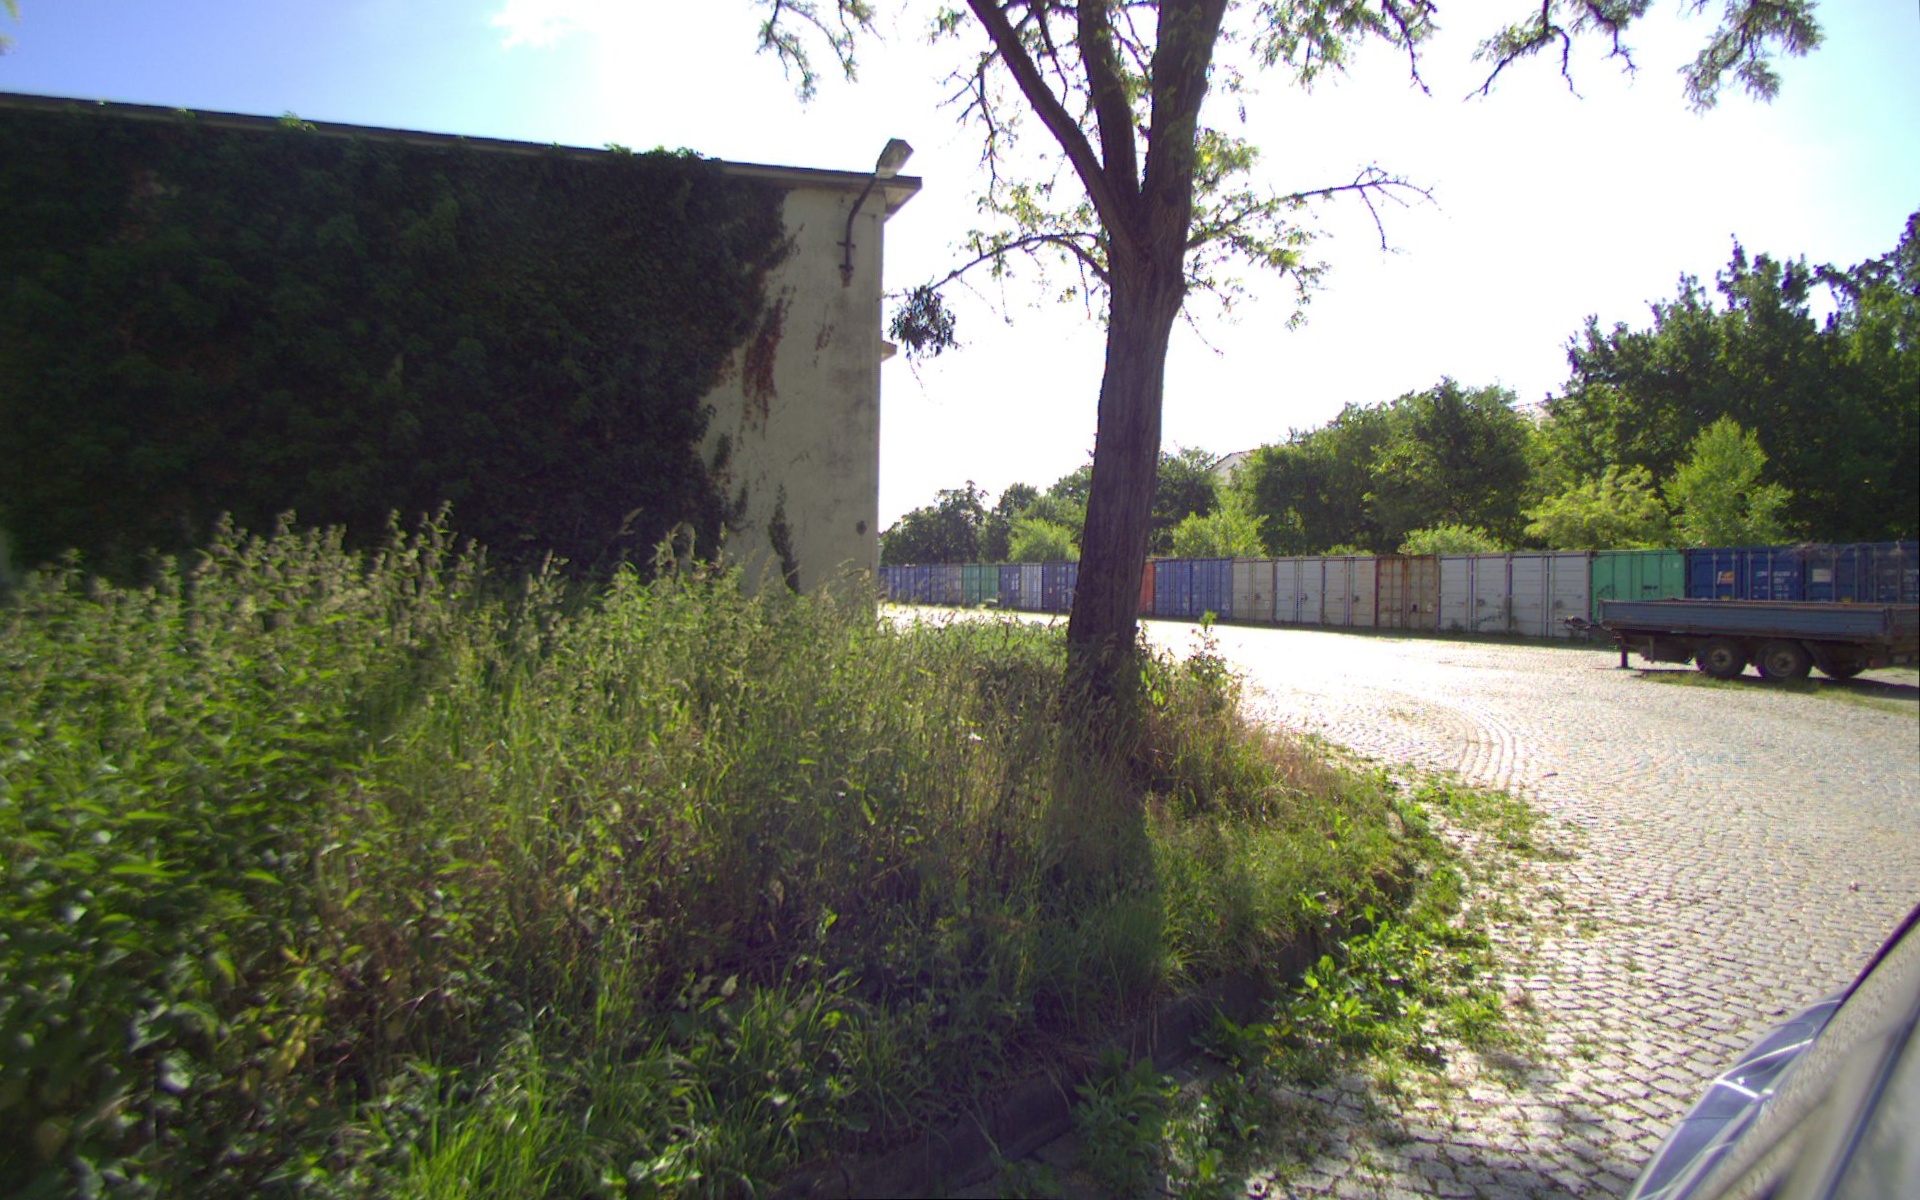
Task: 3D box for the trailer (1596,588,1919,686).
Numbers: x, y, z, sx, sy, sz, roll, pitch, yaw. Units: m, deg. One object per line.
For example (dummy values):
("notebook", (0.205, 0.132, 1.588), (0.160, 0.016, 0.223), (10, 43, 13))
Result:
("trailer", (14.946, 0.546, 18.602), (2.594, 1.432, 4.871), (0, 2, -25))
